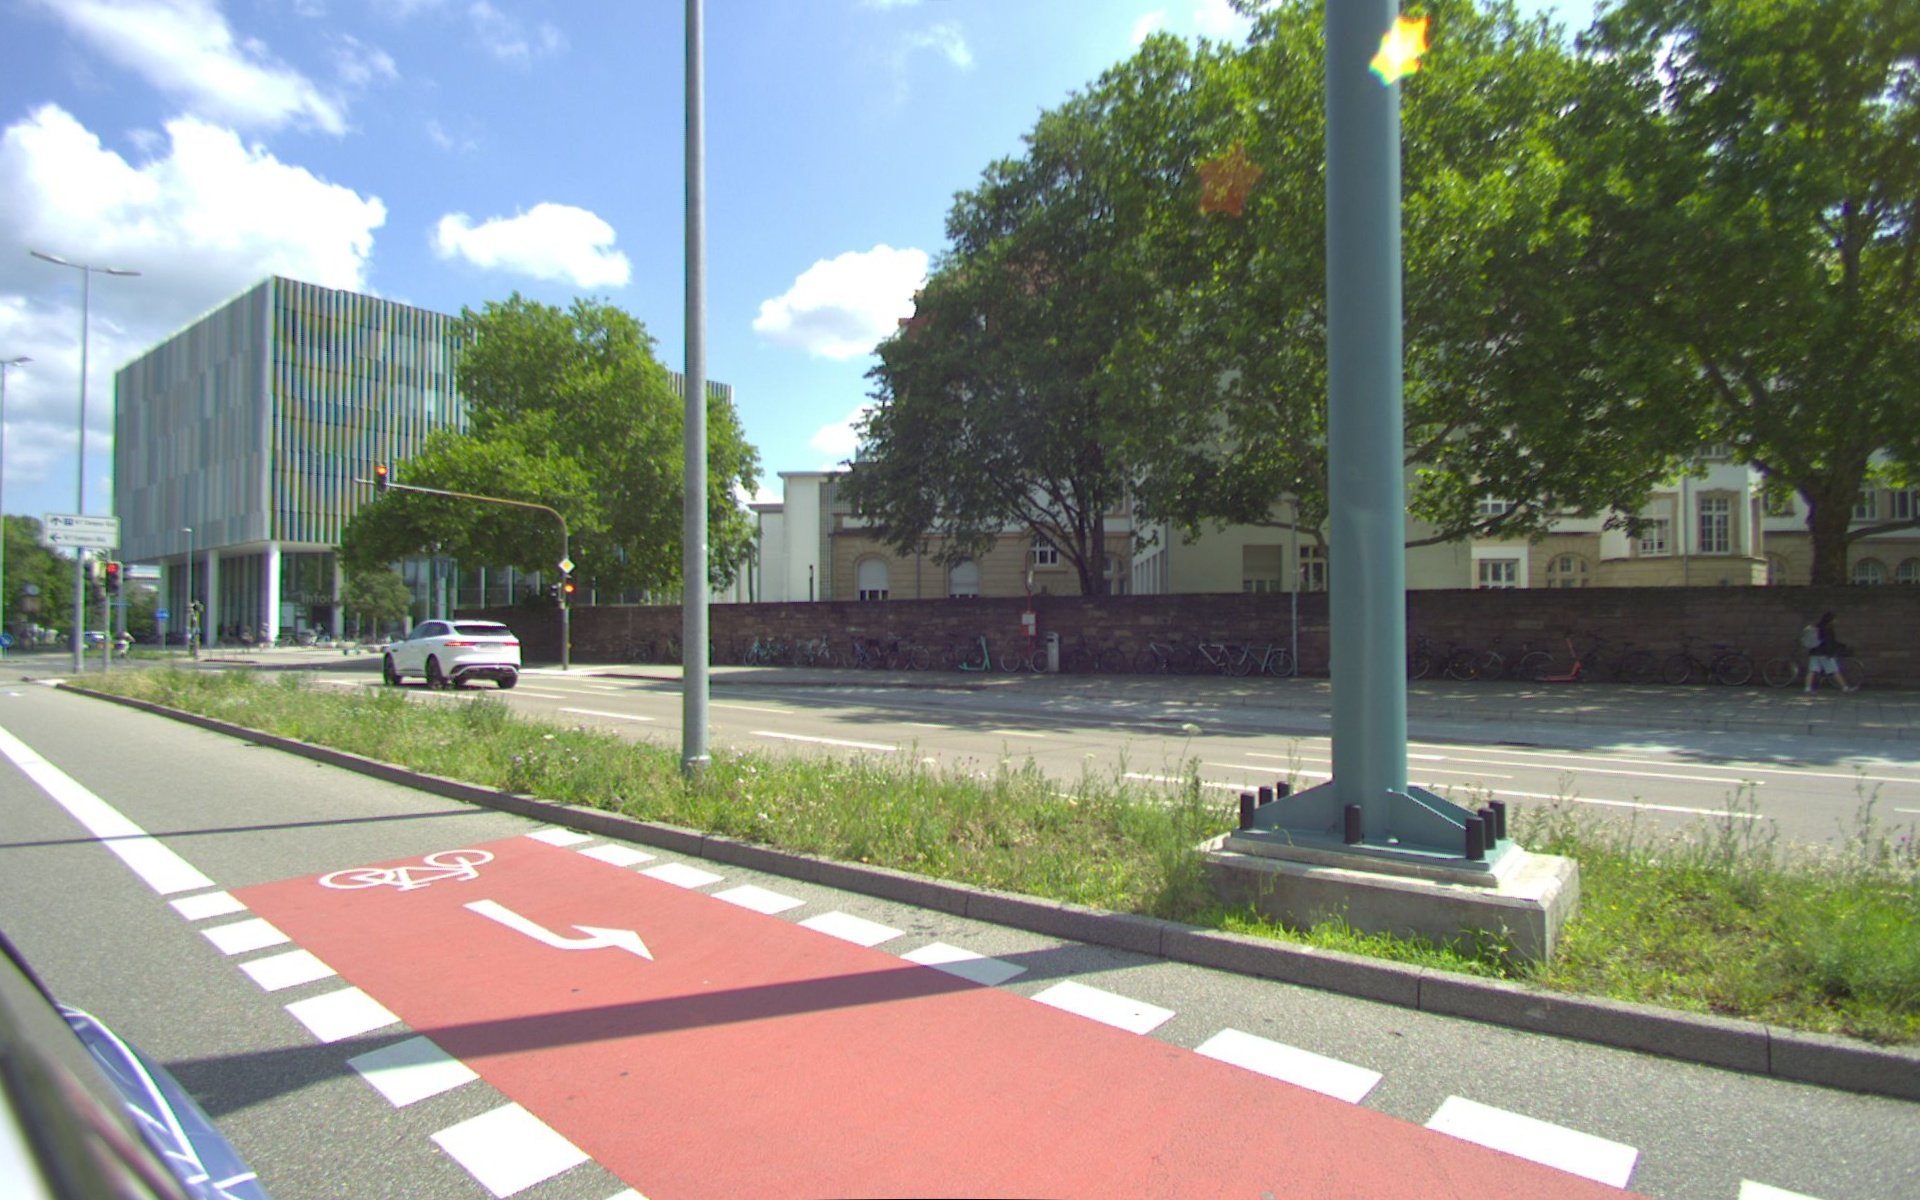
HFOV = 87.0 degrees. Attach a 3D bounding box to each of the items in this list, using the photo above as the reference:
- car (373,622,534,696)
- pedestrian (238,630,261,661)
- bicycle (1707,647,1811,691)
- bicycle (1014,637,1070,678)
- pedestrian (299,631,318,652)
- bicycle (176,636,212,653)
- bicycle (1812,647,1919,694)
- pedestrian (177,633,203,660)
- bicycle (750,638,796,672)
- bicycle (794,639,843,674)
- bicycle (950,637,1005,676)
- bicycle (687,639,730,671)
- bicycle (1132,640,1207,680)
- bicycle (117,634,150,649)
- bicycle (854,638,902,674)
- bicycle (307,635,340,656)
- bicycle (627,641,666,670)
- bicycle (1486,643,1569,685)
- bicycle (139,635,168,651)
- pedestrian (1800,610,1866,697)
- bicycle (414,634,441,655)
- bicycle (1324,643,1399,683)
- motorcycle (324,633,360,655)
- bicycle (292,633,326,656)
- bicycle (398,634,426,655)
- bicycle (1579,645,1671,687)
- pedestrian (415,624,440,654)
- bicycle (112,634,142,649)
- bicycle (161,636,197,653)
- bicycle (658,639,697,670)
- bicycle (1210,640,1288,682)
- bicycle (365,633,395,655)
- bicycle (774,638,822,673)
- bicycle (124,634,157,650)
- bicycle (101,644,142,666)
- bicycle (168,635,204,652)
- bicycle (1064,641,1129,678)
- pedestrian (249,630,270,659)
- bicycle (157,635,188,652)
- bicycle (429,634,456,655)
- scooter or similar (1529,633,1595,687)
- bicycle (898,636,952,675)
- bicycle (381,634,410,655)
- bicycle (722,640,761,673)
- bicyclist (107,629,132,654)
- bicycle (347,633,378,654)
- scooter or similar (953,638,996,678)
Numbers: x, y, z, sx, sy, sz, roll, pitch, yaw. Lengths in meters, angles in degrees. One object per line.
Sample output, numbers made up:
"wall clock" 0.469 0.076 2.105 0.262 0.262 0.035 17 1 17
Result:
"car" -12.701 1.417 25.246 4.774 1.680 2.048 -2 -3 43
"pedestrian" -45.234 2.874 64.421 0.955 1.940 0.881 0 -2 -15
"bicycle" 17.140 1.460 21.749 1.657 0.909 0.540 -1 -2 27
"bicycle" 2.389 1.670 29.597 1.587 1.152 0.429 -1 -2 29
"pedestrian" -52.745 3.336 81.934 0.997 1.720 1.214 0 -2 -15
"bicycle" -67.779 3.939 89.592 2.473 1.506 0.731 1 -2 -39
"bicycle" 18.646 1.436 20.823 1.663 0.909 0.497 -2 -2 38
"pedestrian" -46.706 2.802 61.379 0.875 1.641 0.962 -1 -2 29
"bicycle" -6.490 1.918 35.183 1.581 1.161 0.400 -1 -2 19
"bicycle" -4.724 1.877 33.817 1.576 1.161 0.401 -1 -2 9
"bicycle" 0.536 1.702 30.543 1.582 1.161 0.530 -1 -2 20
"bicycle" -9.232 2.015 37.078 1.589 1.161 0.616 -2 -2 33
"bicycle" 5.698 1.624 27.591 1.941 1.055 0.540 -1 -2 30
"bicycle" -82.437 4.136 100.980 0.621 1.506 2.479 -2 -2 41
"bicycle" -2.643 1.797 32.597 1.588 1.161 0.398 -1 -2 30
"bicycle" -48.178 3.438 76.633 0.919 1.505 2.690 0 -1 -4
"bicycle" -12.099 2.126 39.035 1.589 1.107 0.567 -2 -2 33
"bicycle" 13.215 1.480 23.598 1.658 0.909 0.540 -1 -2 30
"bicycle" -77.337 4.068 97.042 0.621 1.506 2.044 -2 -2 41
"pedestrian" 16.728 1.012 19.402 0.752 1.629 0.612 -1 -1 20
"bicycle" -40.332 3.344 76.688 0.983 1.564 3.423 0 -2 -12
"bicycle" 9.915 1.545 25.013 1.658 0.956 0.540 -1 -2 30
"motorcycle" -46.842 3.339 76.739 0.957 1.652 3.301 0 -2 -5
"bicycle" -49.221 3.347 76.542 0.798 1.656 3.420 0 -2 -8
"bicycle" -41.657 3.345 76.960 0.983 1.564 3.423 0 -2 -12
"bicycle" 14.904 1.464 22.717 1.658 0.909 0.540 -1 -2 30
"pedestrian" -34.425 2.513 65.400 0.969 1.940 1.097 -1 -2 32
"bicycle" -84.669 4.170 102.858 0.656 1.506 2.273 -2 -2 41
"bicycle" -70.176 3.959 90.911 0.621 1.506 2.479 -2 -2 41
"bicycle" -10.636 2.044 38.036 1.589 1.161 0.495 -2 -2 33
"bicycle" 7.539 1.581 26.430 1.888 1.055 0.540 -1 -2 30
"bicycle" -44.043 3.330 76.940 0.983 1.564 3.423 0 -2 -12
"bicycle" -5.505 1.888 34.464 1.576 1.161 0.401 -1 -2 9
"bicycle" -80.317 4.105 99.211 0.621 1.506 2.479 -2 -2 41
"bicycle" -41.195 2.705 49.755 0.636 1.006 2.169 0 -2 -13
"bicycle" -70.378 3.985 92.059 0.621 1.506 2.479 -2 -2 41
"bicycle" 3.865 1.670 28.703 1.796 1.016 0.476 -1 -2 33
"pedestrian" -46.077 2.916 66.563 0.955 1.940 0.882 0 -2 -23
"bicycle" -72.414 3.999 93.056 0.621 1.506 2.171 -2 -2 41
"bicycle" -39.222 3.352 76.811 0.983 1.564 3.423 0 -2 -12
"scooter or similar" 13.491 1.342 22.700 1.184 1.192 0.430 -1 -2 21
"bicycle" -1.083 1.713 31.325 1.582 1.161 0.530 -1 -2 20
"bicycle" -42.881 3.335 76.946 0.983 1.564 3.423 0 -2 -12
"bicycle" -7.835 2.004 36.214 1.591 1.161 0.408 -2 -2 36
"bicyclist" -41.137 2.018 49.548 0.608 1.235 0.836 0 -2 -13
"bicycle" -45.399 3.322 76.948 1.034 1.564 3.423 0 -2 -12
"scooter or similar" 0.422 1.722 29.939 1.184 1.161 0.430 -1 -2 21
